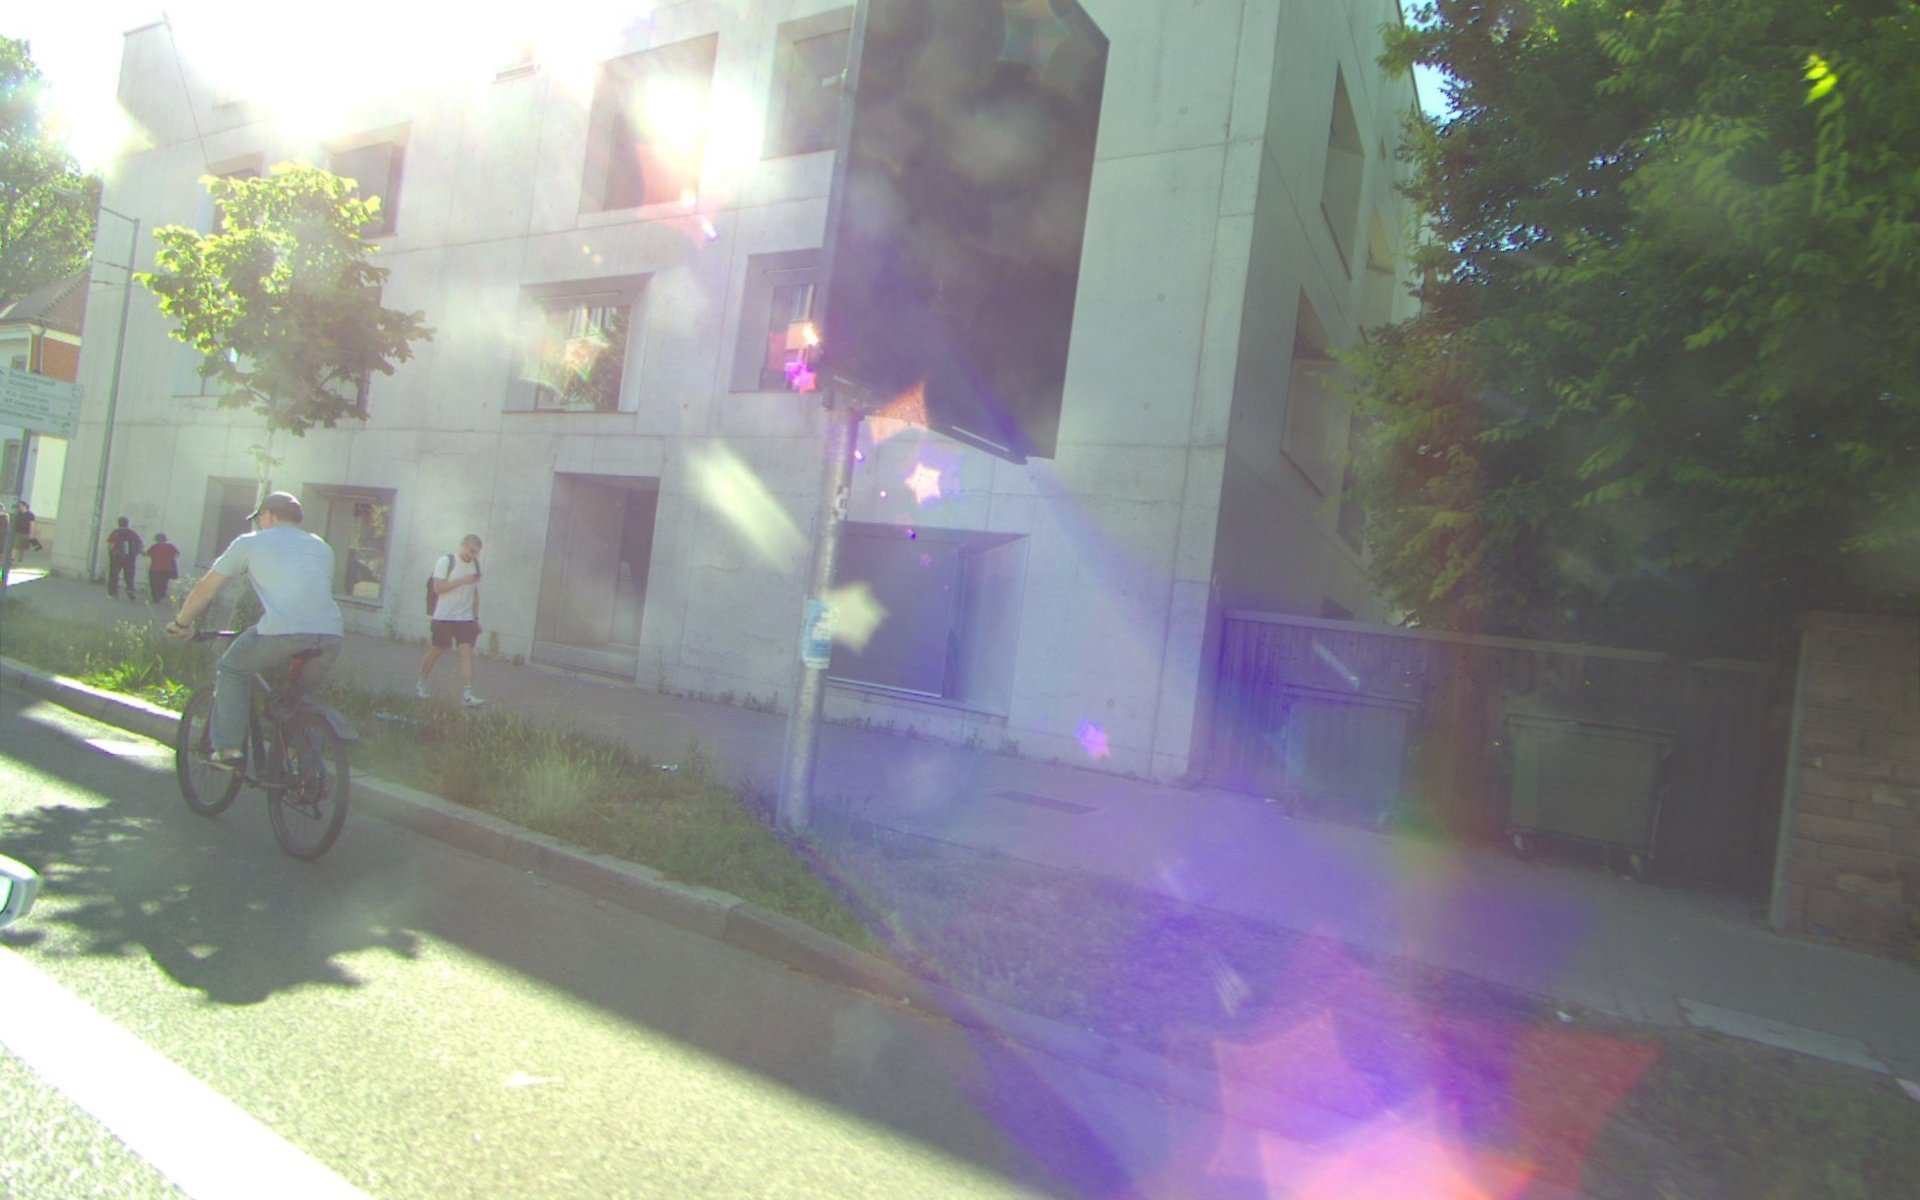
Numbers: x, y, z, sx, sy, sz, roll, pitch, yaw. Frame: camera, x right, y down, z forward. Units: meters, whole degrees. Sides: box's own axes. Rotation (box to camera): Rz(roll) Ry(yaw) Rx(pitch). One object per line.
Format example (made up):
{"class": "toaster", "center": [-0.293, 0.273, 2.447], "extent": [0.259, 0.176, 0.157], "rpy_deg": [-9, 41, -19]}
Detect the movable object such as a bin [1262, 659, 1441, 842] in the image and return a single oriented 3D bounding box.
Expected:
{"class": "movable object such as a bin", "center": [3.789, 1.409, 9.716], "extent": [1.332, 1.480, 0.935], "rpy_deg": [6, -2, 31]}

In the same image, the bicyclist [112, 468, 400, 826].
{"class": "bicyclist", "center": [-3.743, 0.231, 5.368], "extent": [0.955, 1.704, 0.740], "rpy_deg": [6, -3, 31]}

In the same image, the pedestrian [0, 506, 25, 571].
{"class": "pedestrian", "center": [-25.078, -1.629, 26.327], "extent": [0.882, 1.626, 0.826], "rpy_deg": [7, 3, 44]}

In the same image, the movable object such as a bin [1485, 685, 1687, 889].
{"class": "movable object such as a bin", "center": [5.441, 1.580, 8.856], "extent": [1.308, 1.480, 0.936], "rpy_deg": [6, -2, 29]}

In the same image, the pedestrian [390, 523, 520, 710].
{"class": "pedestrian", "center": [-5.452, 0.178, 10.869], "extent": [0.939, 1.872, 0.685], "rpy_deg": [6, 0, 28]}

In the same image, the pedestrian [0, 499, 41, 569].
{"class": "pedestrian", "center": [-25.795, -1.815, 27.626], "extent": [0.720, 1.826, 0.656], "rpy_deg": [7, 2, 37]}

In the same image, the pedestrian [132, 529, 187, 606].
{"class": "pedestrian", "center": [-15.974, -0.646, 20.081], "extent": [0.752, 1.421, 0.518], "rpy_deg": [6, -1, 32]}

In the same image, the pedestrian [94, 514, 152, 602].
{"class": "pedestrian", "center": [-16.360, -0.828, 19.669], "extent": [0.752, 1.619, 0.518], "rpy_deg": [6, -1, 32]}

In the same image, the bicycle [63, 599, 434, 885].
{"class": "bicycle", "center": [-3.845, 0.681, 5.382], "extent": [2.076, 1.106, 0.740], "rpy_deg": [6, -3, 32]}
